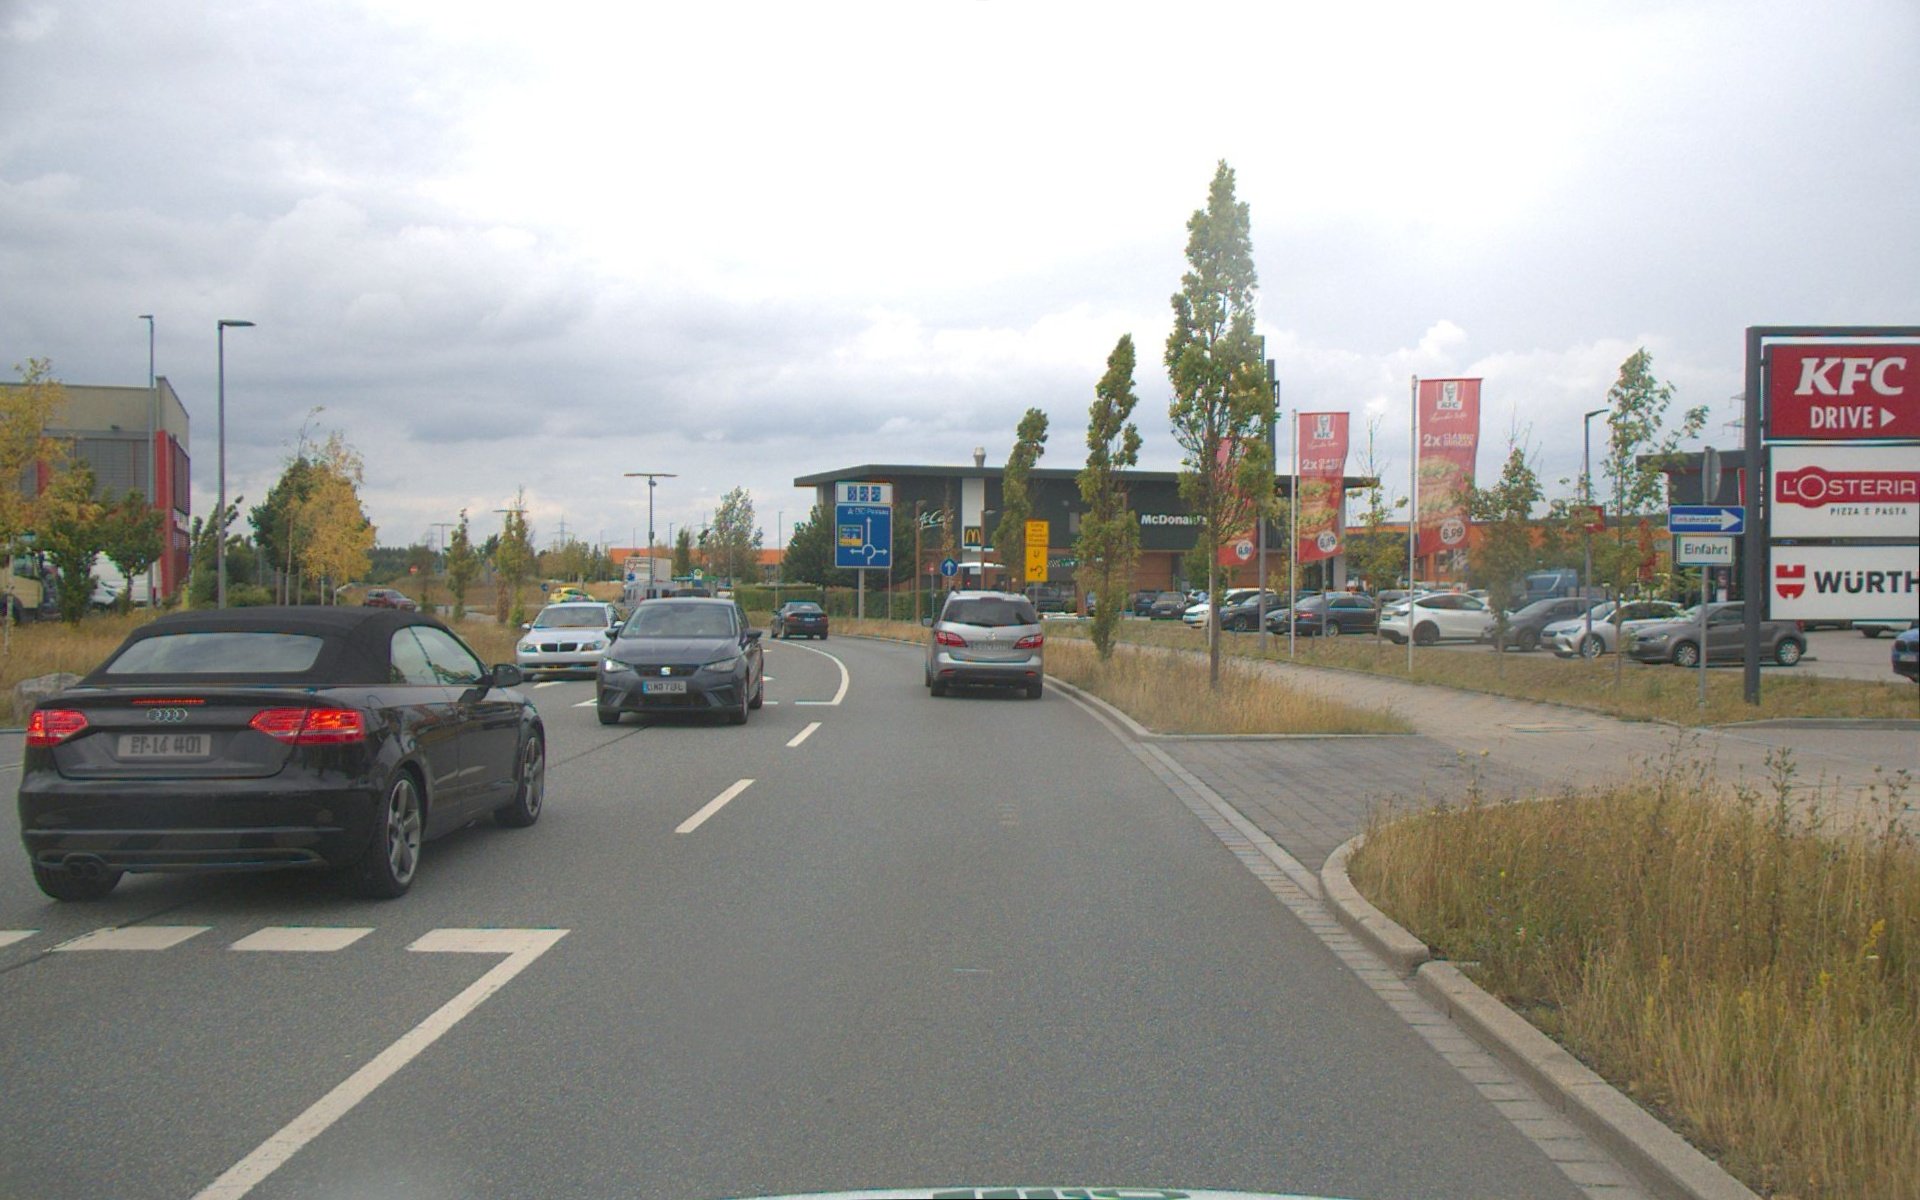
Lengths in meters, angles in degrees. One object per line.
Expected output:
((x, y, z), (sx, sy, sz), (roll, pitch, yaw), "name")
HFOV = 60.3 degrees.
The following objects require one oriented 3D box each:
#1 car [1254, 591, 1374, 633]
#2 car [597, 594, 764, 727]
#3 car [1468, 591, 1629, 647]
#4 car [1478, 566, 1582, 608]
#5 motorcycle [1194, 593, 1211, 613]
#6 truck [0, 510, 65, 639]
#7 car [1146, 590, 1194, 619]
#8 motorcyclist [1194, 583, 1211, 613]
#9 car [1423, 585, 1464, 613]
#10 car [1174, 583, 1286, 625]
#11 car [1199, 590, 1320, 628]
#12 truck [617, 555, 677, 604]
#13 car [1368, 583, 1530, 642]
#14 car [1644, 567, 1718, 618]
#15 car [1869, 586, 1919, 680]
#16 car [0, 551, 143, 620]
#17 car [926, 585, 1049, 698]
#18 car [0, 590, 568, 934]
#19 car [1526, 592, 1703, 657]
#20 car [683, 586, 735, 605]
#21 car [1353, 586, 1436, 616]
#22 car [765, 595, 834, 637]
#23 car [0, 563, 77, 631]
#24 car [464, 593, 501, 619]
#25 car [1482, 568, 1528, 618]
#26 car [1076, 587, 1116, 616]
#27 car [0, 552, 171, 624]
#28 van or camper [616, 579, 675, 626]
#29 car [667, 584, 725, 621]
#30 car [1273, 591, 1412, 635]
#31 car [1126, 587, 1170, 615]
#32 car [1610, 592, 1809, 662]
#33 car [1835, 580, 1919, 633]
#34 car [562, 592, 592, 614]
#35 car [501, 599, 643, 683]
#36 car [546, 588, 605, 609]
((13.270, 0.429, 62.091), (4.021, 1.463, 1.933), (-1, 1, -19), "car")
((-3.315, 0.657, 20.269), (1.794, 1.445, 4.239), (0, 0, -7), "car")
((16.850, 0.546, 47.479), (3.912, 1.511, 1.937), (-1, 0, -8), "car")
((35.672, -0.807, 103.544), (5.909, 2.572, 2.279), (0, 1, 26), "car")
((15.475, 0.175, 105.522), (0.838, 1.266, 1.968), (0, 0, 14), "motorcycle")
((-28.504, -0.713, 44.370), (2.789, 3.603, 8.434), (0, 0, 16), "truck")
((10.230, 0.215, 80.484), (1.773, 1.336, 3.852), (0, 1, 15), "car")
((15.471, -0.140, 105.536), (0.940, 1.864, 0.846), (0, 0, 14), "motorcyclist")
((25.735, -0.055, 87.925), (1.909, 1.468, 4.220), (0, 0, 19), "car")
((11.322, 0.146, 69.274), (4.287, 1.668, 1.924), (-1, 1, -23), "car")
((12.105, 0.350, 66.890), (4.402, 1.461, 2.062), (-1, 1, -20), "car")
((-26.209, -1.663, 138.746), (3.068, 3.975, 9.337), (0, 0, 1), "truck")
((15.446, 0.382, 52.343), (4.481, 1.673, 2.082), (-2, 1, -12), "car")
((35.371, -0.410, 81.054), (2.482, 2.392, 5.676), (0, 1, 33), "car")
((17.998, 0.538, 27.998), (4.177, 1.546, 1.965), (0, 0, -3), "car")
((-32.052, -0.492, 57.910), (5.983, 2.347, 2.196), (0, 0, -22), "car")
((0.367, 0.602, 26.208), (1.695, 1.628, 3.805), (1, 0, -3), "car")
((-3.492, 0.702, 9.212), (1.733, 1.463, 4.229), (0, 0, -2), "car")
((16.800, 0.613, 42.540), (3.788, 1.507, 1.900), (-2, 0, -7), "car")
((-23.011, -0.422, 151.680), (4.523, 1.788, 1.993), (0, 0, -14), "car")
((25.413, 0.041, 96.685), (4.618, 1.685, 2.001), (0, 0, 17), "car")
((-5.972, 0.569, 61.191), (1.815, 1.443, 4.207), (0, 1, -16), "car")
((-29.970, -0.089, 50.583), (4.817, 2.025, 2.172), (0, 0, -13), "car")
((-33.718, 0.422, 116.813), (1.777, 1.698, 4.291), (-3, 1, -26), "car")
((29.022, -0.420, 88.162), (2.226, 2.545, 7.332), (0, 1, 18), "car")
((8.518, 0.064, 103.485), (1.951, 1.747, 4.003), (0, 0, 13), "car")
((-33.539, -0.457, 62.687), (6.314, 2.644, 2.230), (0, 0, -21), "car")
((-17.757, 0.118, 93.240), (2.271, 2.550, 5.169), (0, 0, -23), "van or camper")
((-13.574, 0.110, 84.900), (2.029, 1.858, 4.756), (0, 0, -21), "car")
((13.671, 0.435, 59.144), (4.445, 1.494, 2.023), (-1, 1, -17), "car")
((11.994, 0.068, 105.250), (2.071, 1.747, 4.233), (0, 0, 17), "car")
((17.051, 0.595, 37.735), (3.684, 1.520, 1.888), (0, 0, -5), "car")
((29.801, 0.167, 51.521), (4.497, 1.545, 2.068), (-1, 1, -22), "car")
((-26.620, 0.192, 114.843), (1.960, 1.542, 3.985), (0, 0, -14), "car")
((-7.465, 0.741, 32.221), (1.799, 1.442, 4.498), (-2, 0, -2), "car")
((-29.060, -0.149, 125.168), (1.963, 1.542, 3.978), (0, 0, 40), "car")
